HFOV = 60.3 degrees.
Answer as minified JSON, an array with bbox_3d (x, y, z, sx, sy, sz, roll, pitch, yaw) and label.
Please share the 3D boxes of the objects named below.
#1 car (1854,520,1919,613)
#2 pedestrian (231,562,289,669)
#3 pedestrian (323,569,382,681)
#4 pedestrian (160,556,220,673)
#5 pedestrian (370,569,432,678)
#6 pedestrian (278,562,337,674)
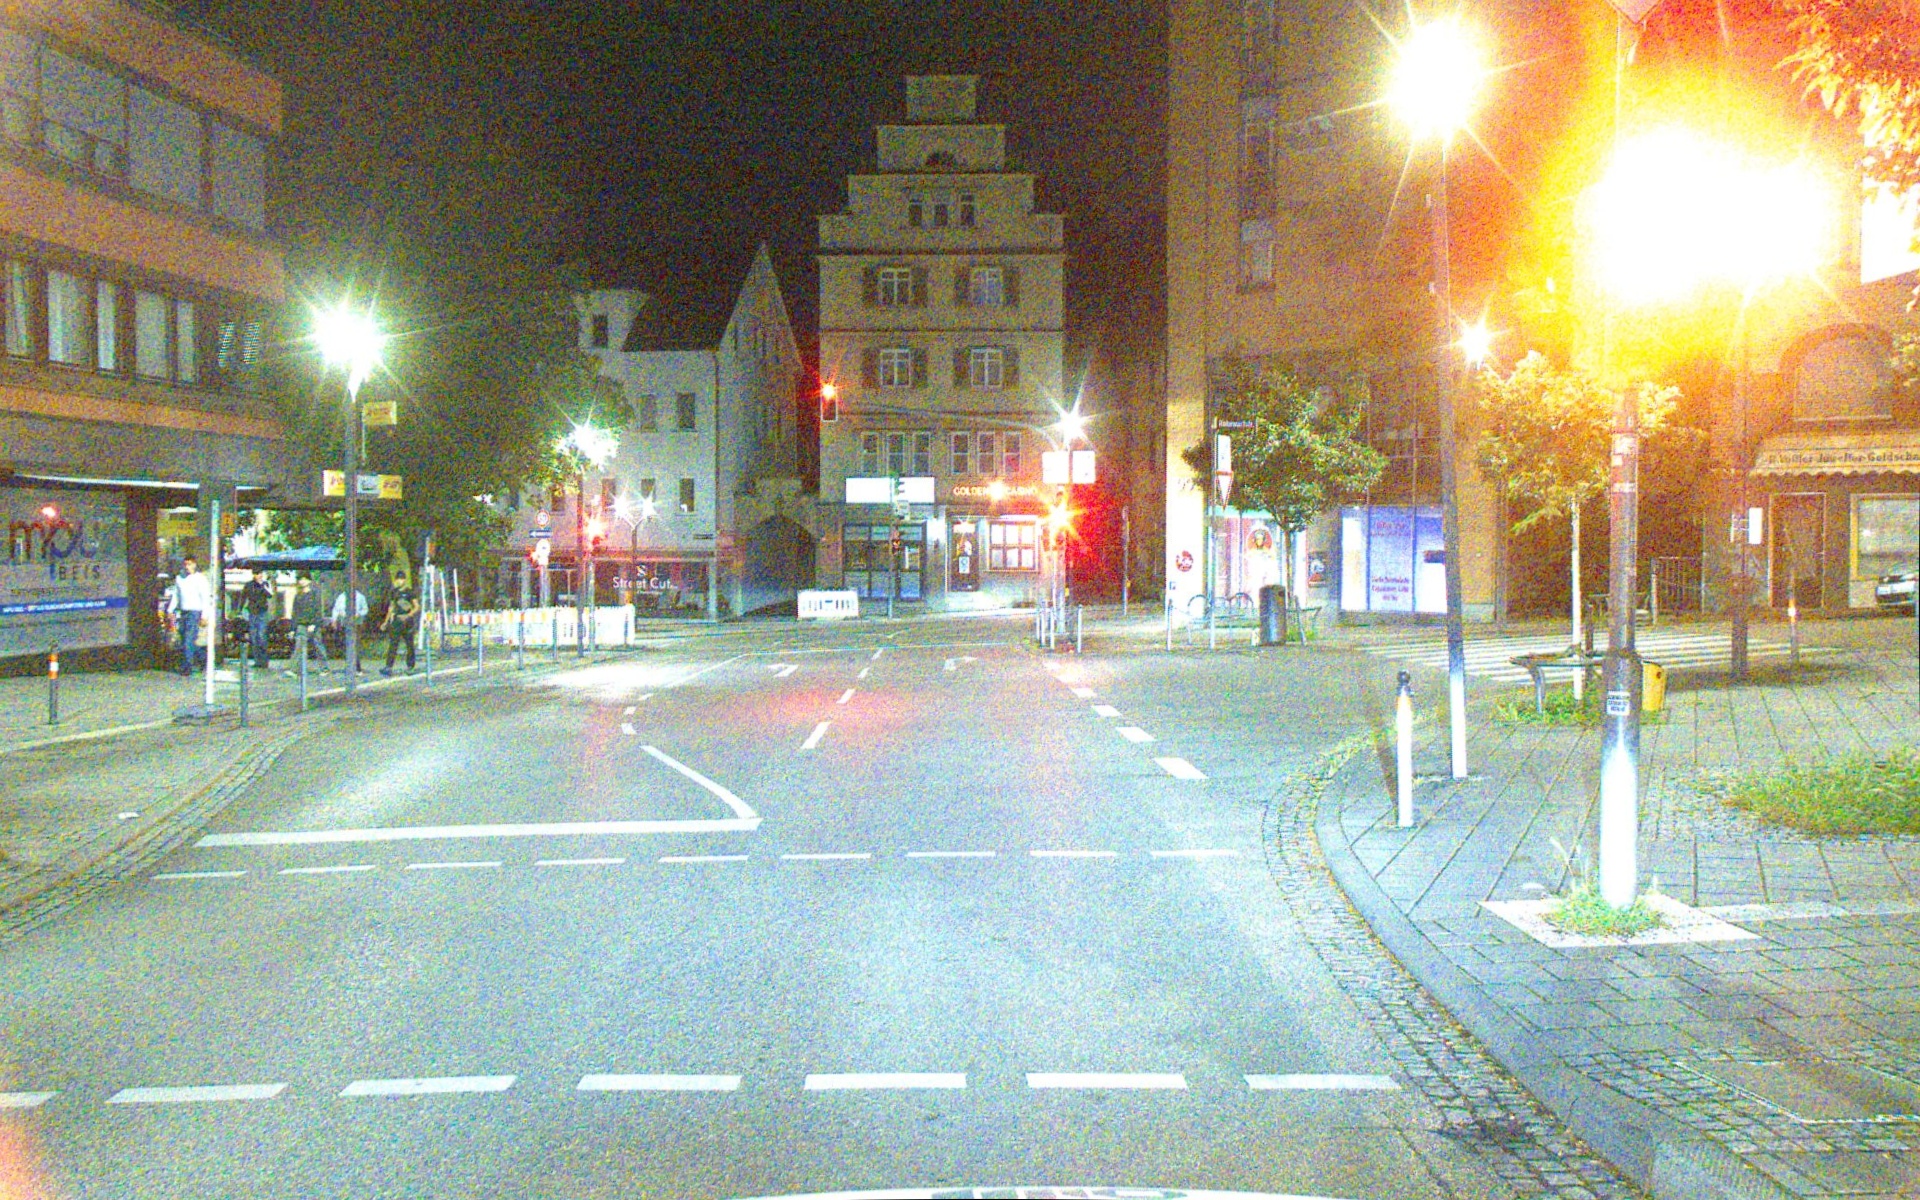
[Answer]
[{"bbox_3d":[17.174,-0.652,27.147,3.957,1.478,1.827,-3,1,6],"label":"car"},{"bbox_3d":[-12.113,0.263,28.622,0.701,1.827,0.570,1,-1,6],"label":"pedestrian"},{"bbox_3d":[-10.052,0.410,27.384,0.701,1.827,0.570,1,-1,6],"label":"pedestrian"},{"bbox_3d":[-12.149,0.233,26.113,0.703,1.827,0.567,1,-2,-13],"label":"pedestrian"},{"bbox_3d":[-9.568,0.402,28.309,0.700,1.827,0.738,0,-1,10],"label":"pedestrian"},{"bbox_3d":[-10.819,0.306,27.437,0.701,1.827,0.570,1,-1,6],"label":"pedestrian"}]
